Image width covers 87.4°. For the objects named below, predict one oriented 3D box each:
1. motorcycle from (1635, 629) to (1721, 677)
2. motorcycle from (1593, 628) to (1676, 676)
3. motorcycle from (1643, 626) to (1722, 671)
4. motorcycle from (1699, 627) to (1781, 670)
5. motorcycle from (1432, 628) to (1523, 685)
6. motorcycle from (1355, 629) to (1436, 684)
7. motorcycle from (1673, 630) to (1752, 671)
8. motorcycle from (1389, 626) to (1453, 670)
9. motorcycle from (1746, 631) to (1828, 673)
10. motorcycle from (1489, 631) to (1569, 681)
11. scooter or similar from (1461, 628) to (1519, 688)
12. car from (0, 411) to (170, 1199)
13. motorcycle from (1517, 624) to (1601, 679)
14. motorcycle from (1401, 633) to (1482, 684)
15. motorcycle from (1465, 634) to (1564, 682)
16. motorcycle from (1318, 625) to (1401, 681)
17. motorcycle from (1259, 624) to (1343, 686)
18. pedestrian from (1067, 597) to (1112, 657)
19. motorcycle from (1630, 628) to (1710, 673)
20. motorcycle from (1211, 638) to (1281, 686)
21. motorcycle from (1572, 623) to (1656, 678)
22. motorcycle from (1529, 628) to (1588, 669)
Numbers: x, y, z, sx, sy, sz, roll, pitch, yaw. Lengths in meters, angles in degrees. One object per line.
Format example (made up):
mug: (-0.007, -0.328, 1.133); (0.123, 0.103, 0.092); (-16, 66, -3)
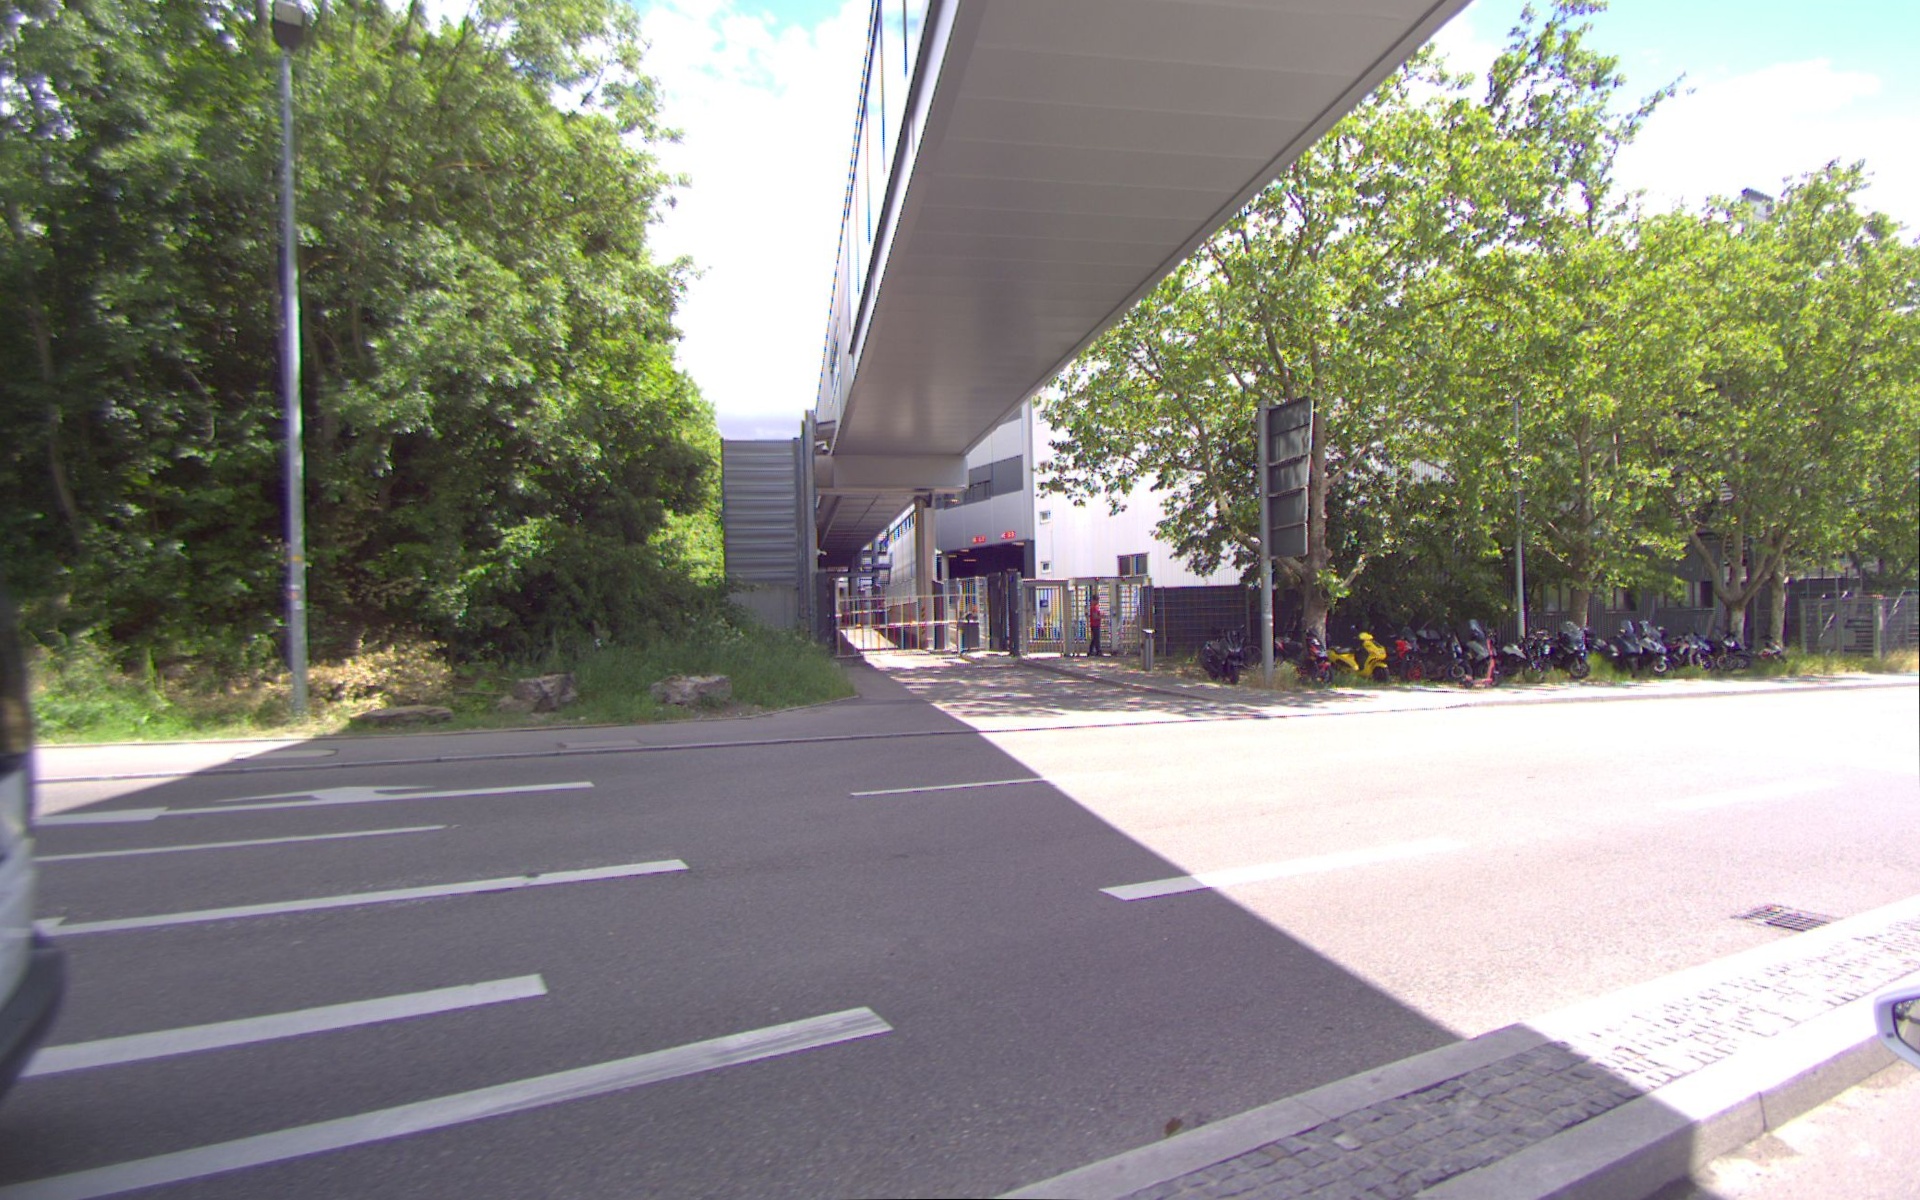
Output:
motorcycle: (20.525, 1.495, 28.763); (0.802, 1.195, 1.875); (0, 2, -20)
motorcycle: (18.994, 1.436, 28.330); (0.801, 1.195, 1.878); (0, 2, -14)
motorcycle: (21.954, 1.466, 30.569); (0.646, 1.226, 1.872); (-1, 2, -25)
motorcycle: (24.206, 1.476, 31.208); (0.719, 1.202, 1.875); (0, 1, -20)
motorcycle: (12.339, 1.325, 24.001); (0.846, 1.195, 1.731); (-1, 2, -40)
motorcycle: (10.068, 1.279, 23.270); (0.766, 1.138, 1.584); (-1, 2, -27)
motorcycle: (23.101, 1.529, 30.877); (0.780, 1.099, 1.878); (0, 2, -14)
motorcycle: (13.385, 1.381, 29.232); (0.903, 1.131, 1.937); (0, 1, -2)
motorcycle: (26.094, 1.614, 31.727); (0.734, 1.189, 1.875); (0, 2, -19)
motorcycle: (14.682, 1.423, 25.969); (0.903, 1.131, 1.937); (0, 1, -2)
scooter or similar: (11.404, 1.248, 21.610); (1.462, 1.252, 0.352); (2, 0, -30)
car: (-4.241, 0.506, 1.200); (4.919, 1.804, 1.800); (1, -1, -30)
motorcycle: (15.802, 1.332, 26.564); (0.876, 1.308, 1.935); (0, 2, -8)
motorcycle: (11.319, 1.353, 23.668); (0.766, 1.047, 1.584); (-1, 2, -27)
motorcycle: (13.536, 1.427, 24.564); (0.914, 1.130, 1.916); (3, -4, -40)
motorcycle: (9.028, 1.179, 22.742); (0.769, 1.138, 1.578); (-1, 2, -38)
motorcycle: (7.235, 1.146, 21.417); (0.764, 1.187, 1.739); (0, 2, -21)
pedestrian: (3.815, 0.775, 29.528); (0.879, 1.724, 0.971); (1, -1, -44)
motorcycle: (21.243, 1.482, 30.092); (0.689, 1.195, 1.872); (-1, 2, -25)
motorcycle: (6.078, 1.298, 21.449); (0.762, 0.880, 1.745); (0, 1, -9)
motorcycle: (17.983, 1.371, 27.661); (0.849, 1.362, 1.935); (0, 2, -8)
motorcycle: (19.253, 1.561, 32.317); (1.956, 1.226, 0.651); (0, 2, -25)
